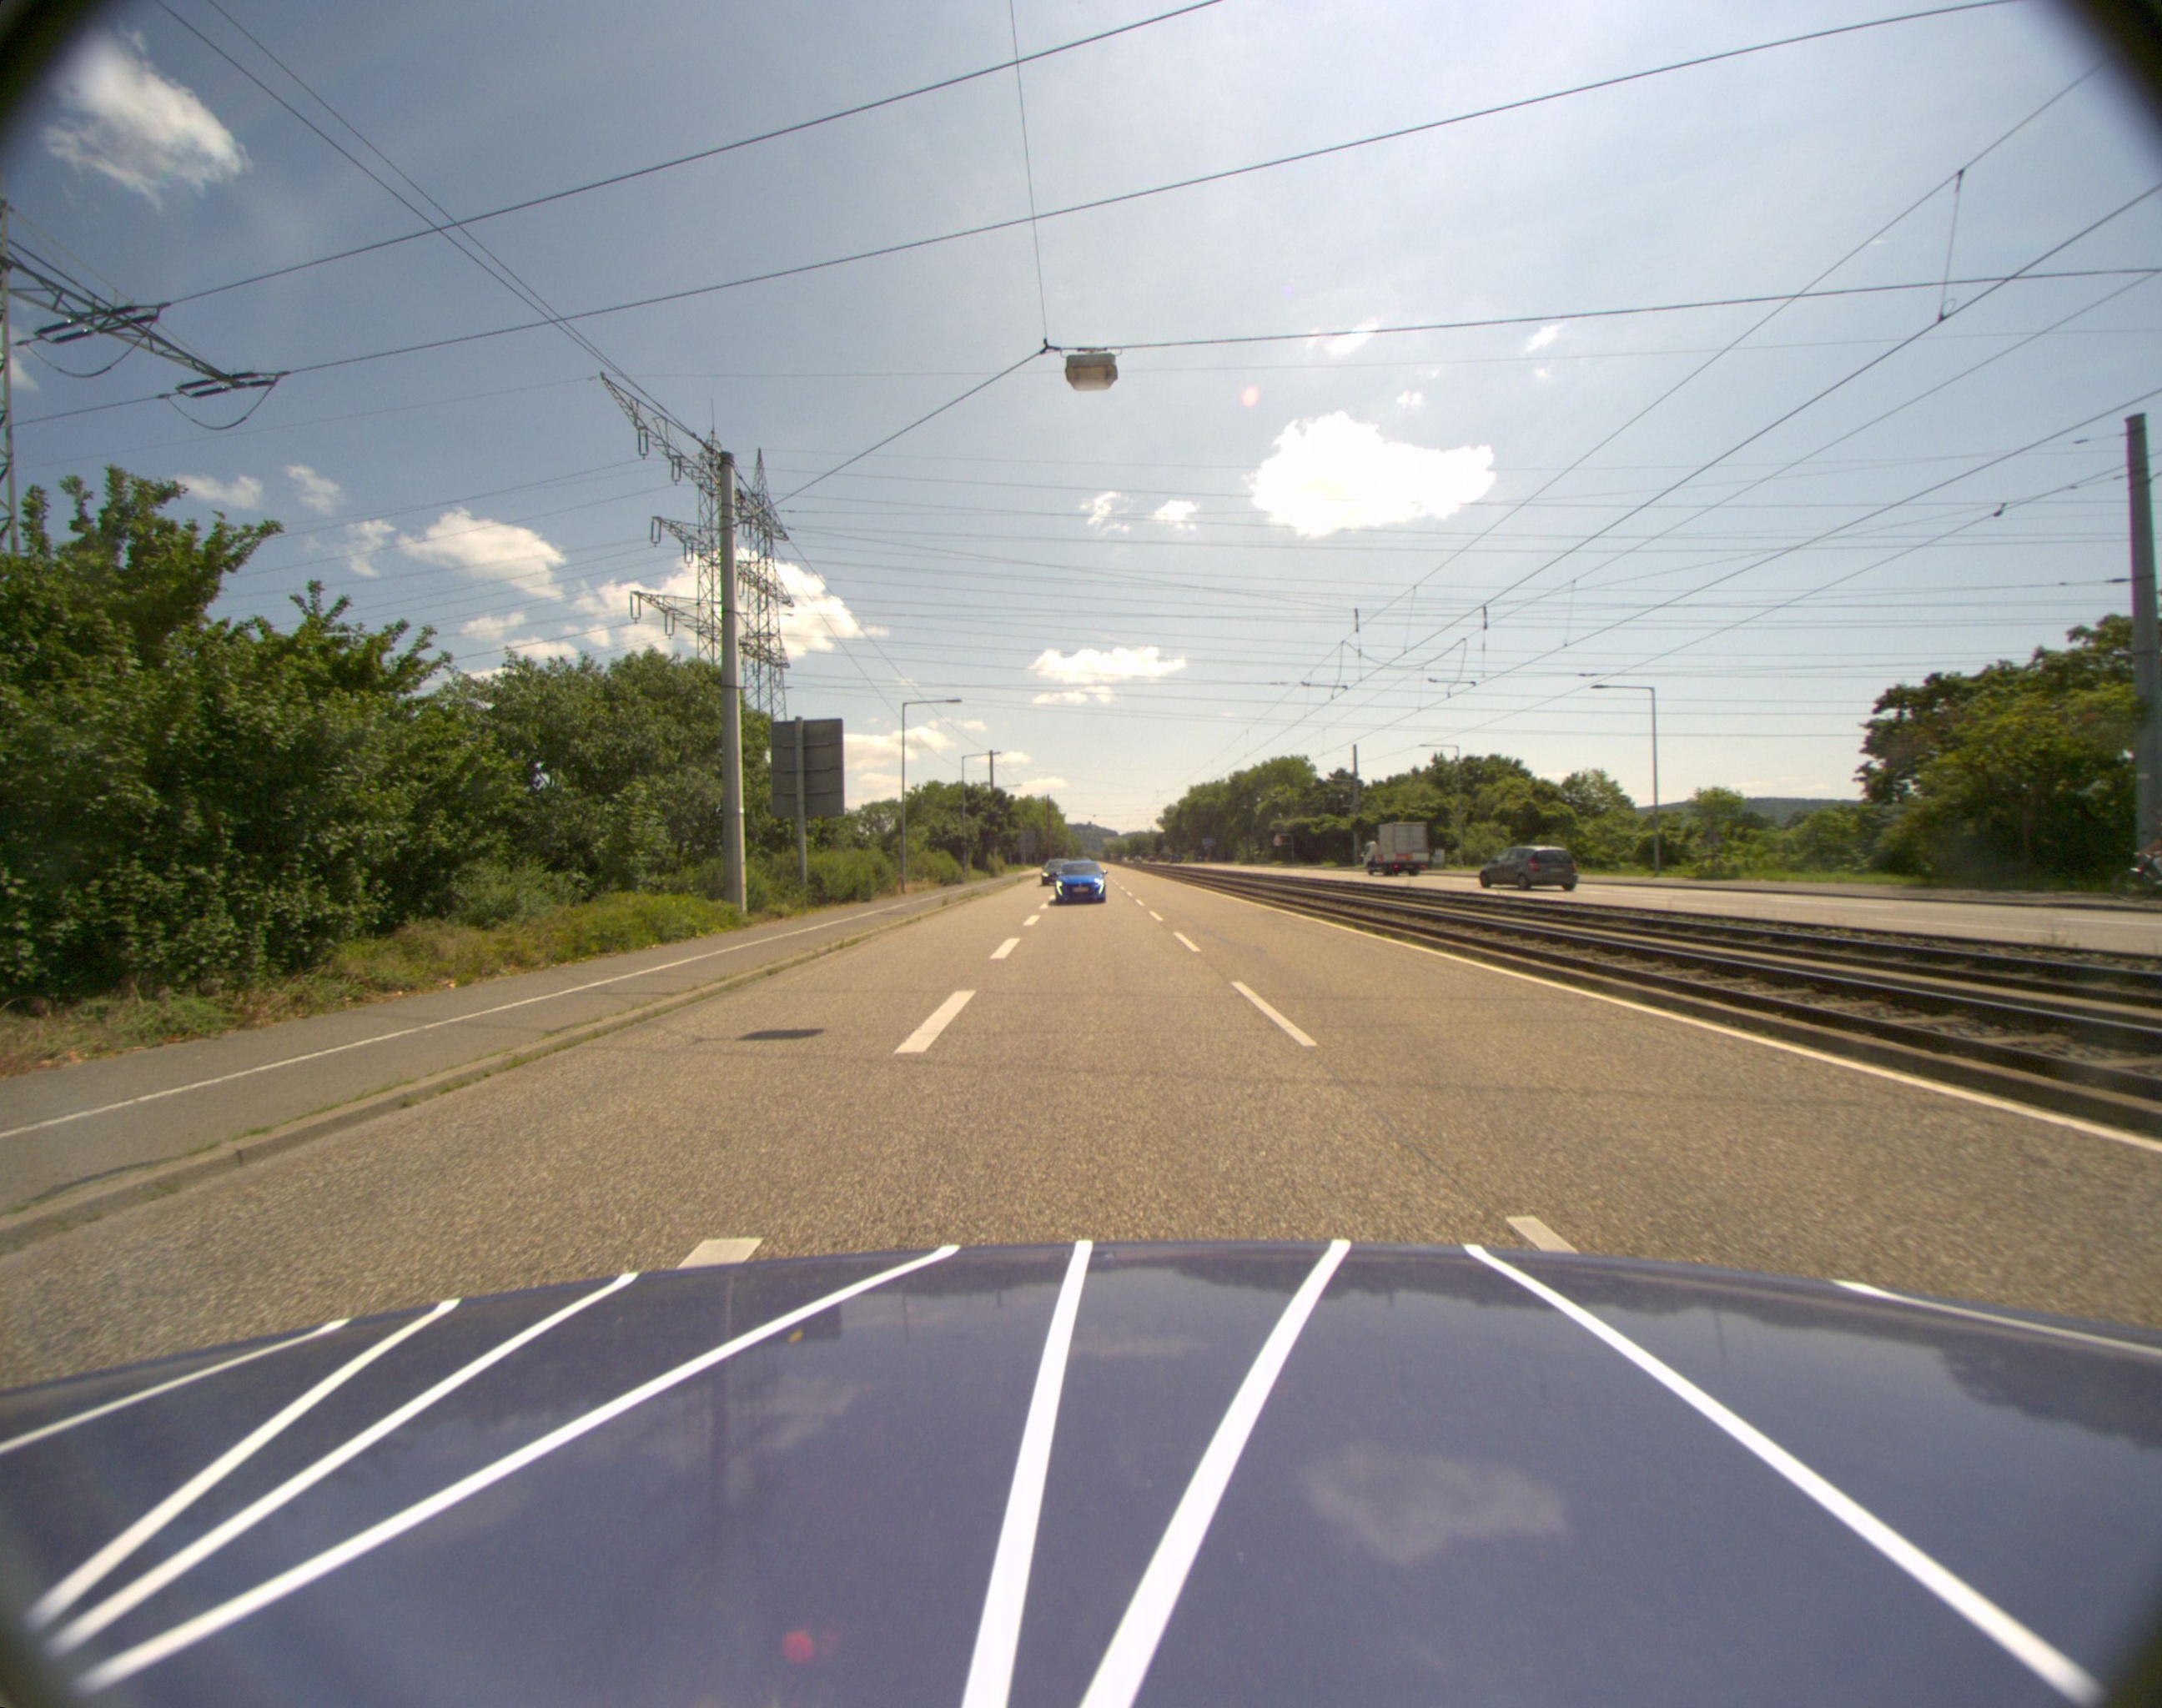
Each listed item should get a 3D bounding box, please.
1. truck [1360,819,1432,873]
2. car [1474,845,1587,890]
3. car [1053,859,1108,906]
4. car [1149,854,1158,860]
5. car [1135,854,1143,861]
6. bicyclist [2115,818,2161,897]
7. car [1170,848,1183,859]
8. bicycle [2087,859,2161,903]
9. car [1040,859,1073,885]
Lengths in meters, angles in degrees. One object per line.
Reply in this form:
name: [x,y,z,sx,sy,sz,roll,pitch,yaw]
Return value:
truck: [20.034,-0.484,48.639,2.255,3.217,6.042,-1,0,2]
car: [16.220,0.449,27.641,1.757,1.526,3.957,0,0,0]
car: [0.005,0.952,27.227,1.771,1.463,4.467,-2,0,1]
car: [19.233,0.774,201.424,1.806,1.616,4.211,0,0,0]
car: [15.173,0.899,198.238,1.806,1.616,4.494,0,0,0]
bicyclist: [22.567,0.056,15.752,0.652,1.610,1.155,-3,0,4]
car: [18.240,-0.111,144.972,1.862,1.916,5.008,0,0,0]
bicycle: [22.594,0.563,15.795,0.652,0.854,2.121,-3,0,5]
car: [-1.473,1.047,46.213,1.771,1.422,4.000,-2,0,1]
